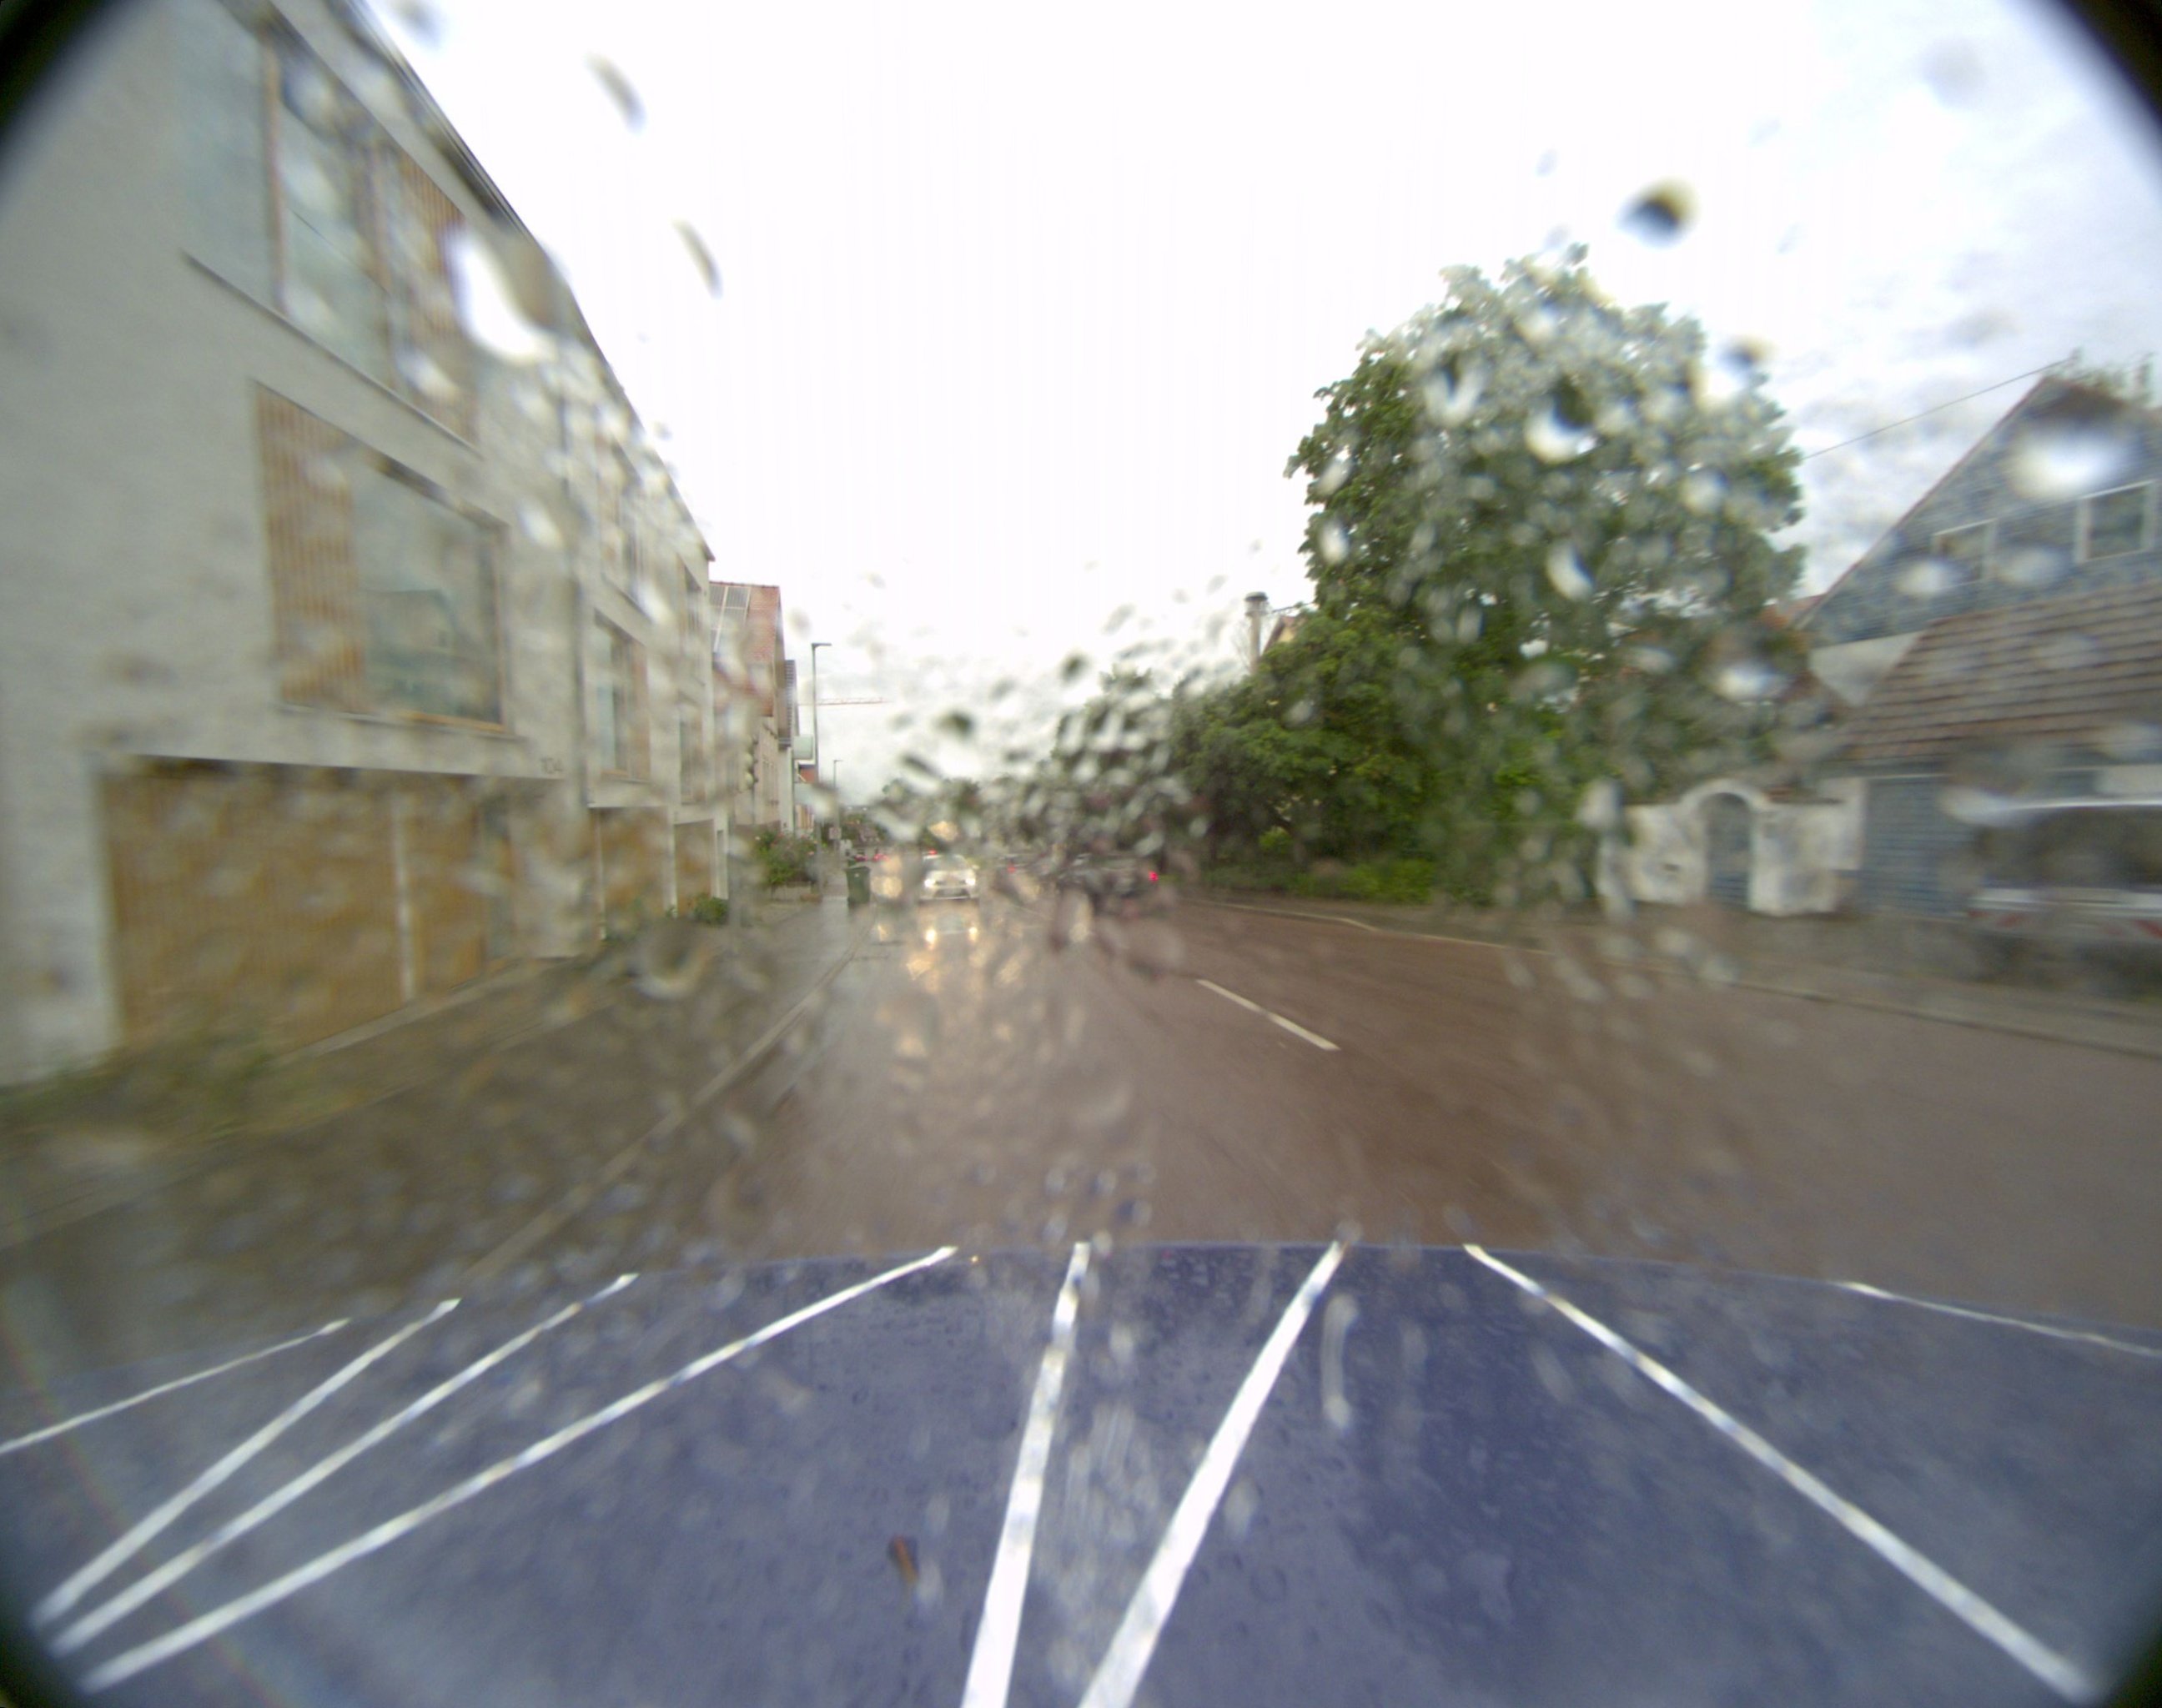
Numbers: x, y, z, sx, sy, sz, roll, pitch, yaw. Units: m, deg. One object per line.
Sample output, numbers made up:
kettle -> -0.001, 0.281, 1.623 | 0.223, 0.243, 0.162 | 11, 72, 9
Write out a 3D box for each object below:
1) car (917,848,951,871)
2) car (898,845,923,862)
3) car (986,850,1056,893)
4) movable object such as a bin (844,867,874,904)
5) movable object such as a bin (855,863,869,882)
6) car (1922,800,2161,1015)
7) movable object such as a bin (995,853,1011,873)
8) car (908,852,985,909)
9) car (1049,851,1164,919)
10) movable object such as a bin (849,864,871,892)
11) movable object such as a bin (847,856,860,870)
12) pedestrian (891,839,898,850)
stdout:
car -> -10.802, 0.394, 55.676 | 1.812, 1.545, 3.823 | -2, 1, -19
car -> -16.938, -0.021, 75.410 | 1.925, 1.614, 4.356 | -3, 0, -18
car -> -2.328, 0.608, 28.510 | 1.826, 1.414, 3.894 | -2, 1, -16
movable object such as a bin -> -6.798, 0.946, 23.291 | 0.839, 1.055, 0.748 | -2, 1, -16
movable object such as a bin -> -10.840, 0.905, 37.608 | 0.633, 0.892, 0.711 | -2, 1, -17
car -> 10.832, 0.362, 7.322 | 4.121, 1.790, 1.997 | -2, 1, -15
movable object such as a bin -> -4.538, 0.520, 43.963 | 0.723, 1.094, 0.756 | -4, 2, -17
car -> -4.175, 0.731, 23.161 | 1.861, 1.427, 4.010 | -3, 2, -15
car -> 0.504, 0.667, 18.370 | 1.683, 1.397, 3.672 | -2, 1, -16
movable object such as a bin -> -8.840, 0.938, 30.453 | 0.799, 1.064, 0.760 | -2, 1, -15
movable object such as a bin -> -18.169, 0.691, 60.765 | 0.917, 1.097, 0.701 | -2, 1, -15
pedestrian -> -33.751, -1.734, 137.506 | 0.972, 1.820, 0.893 | -3, 2, -26
